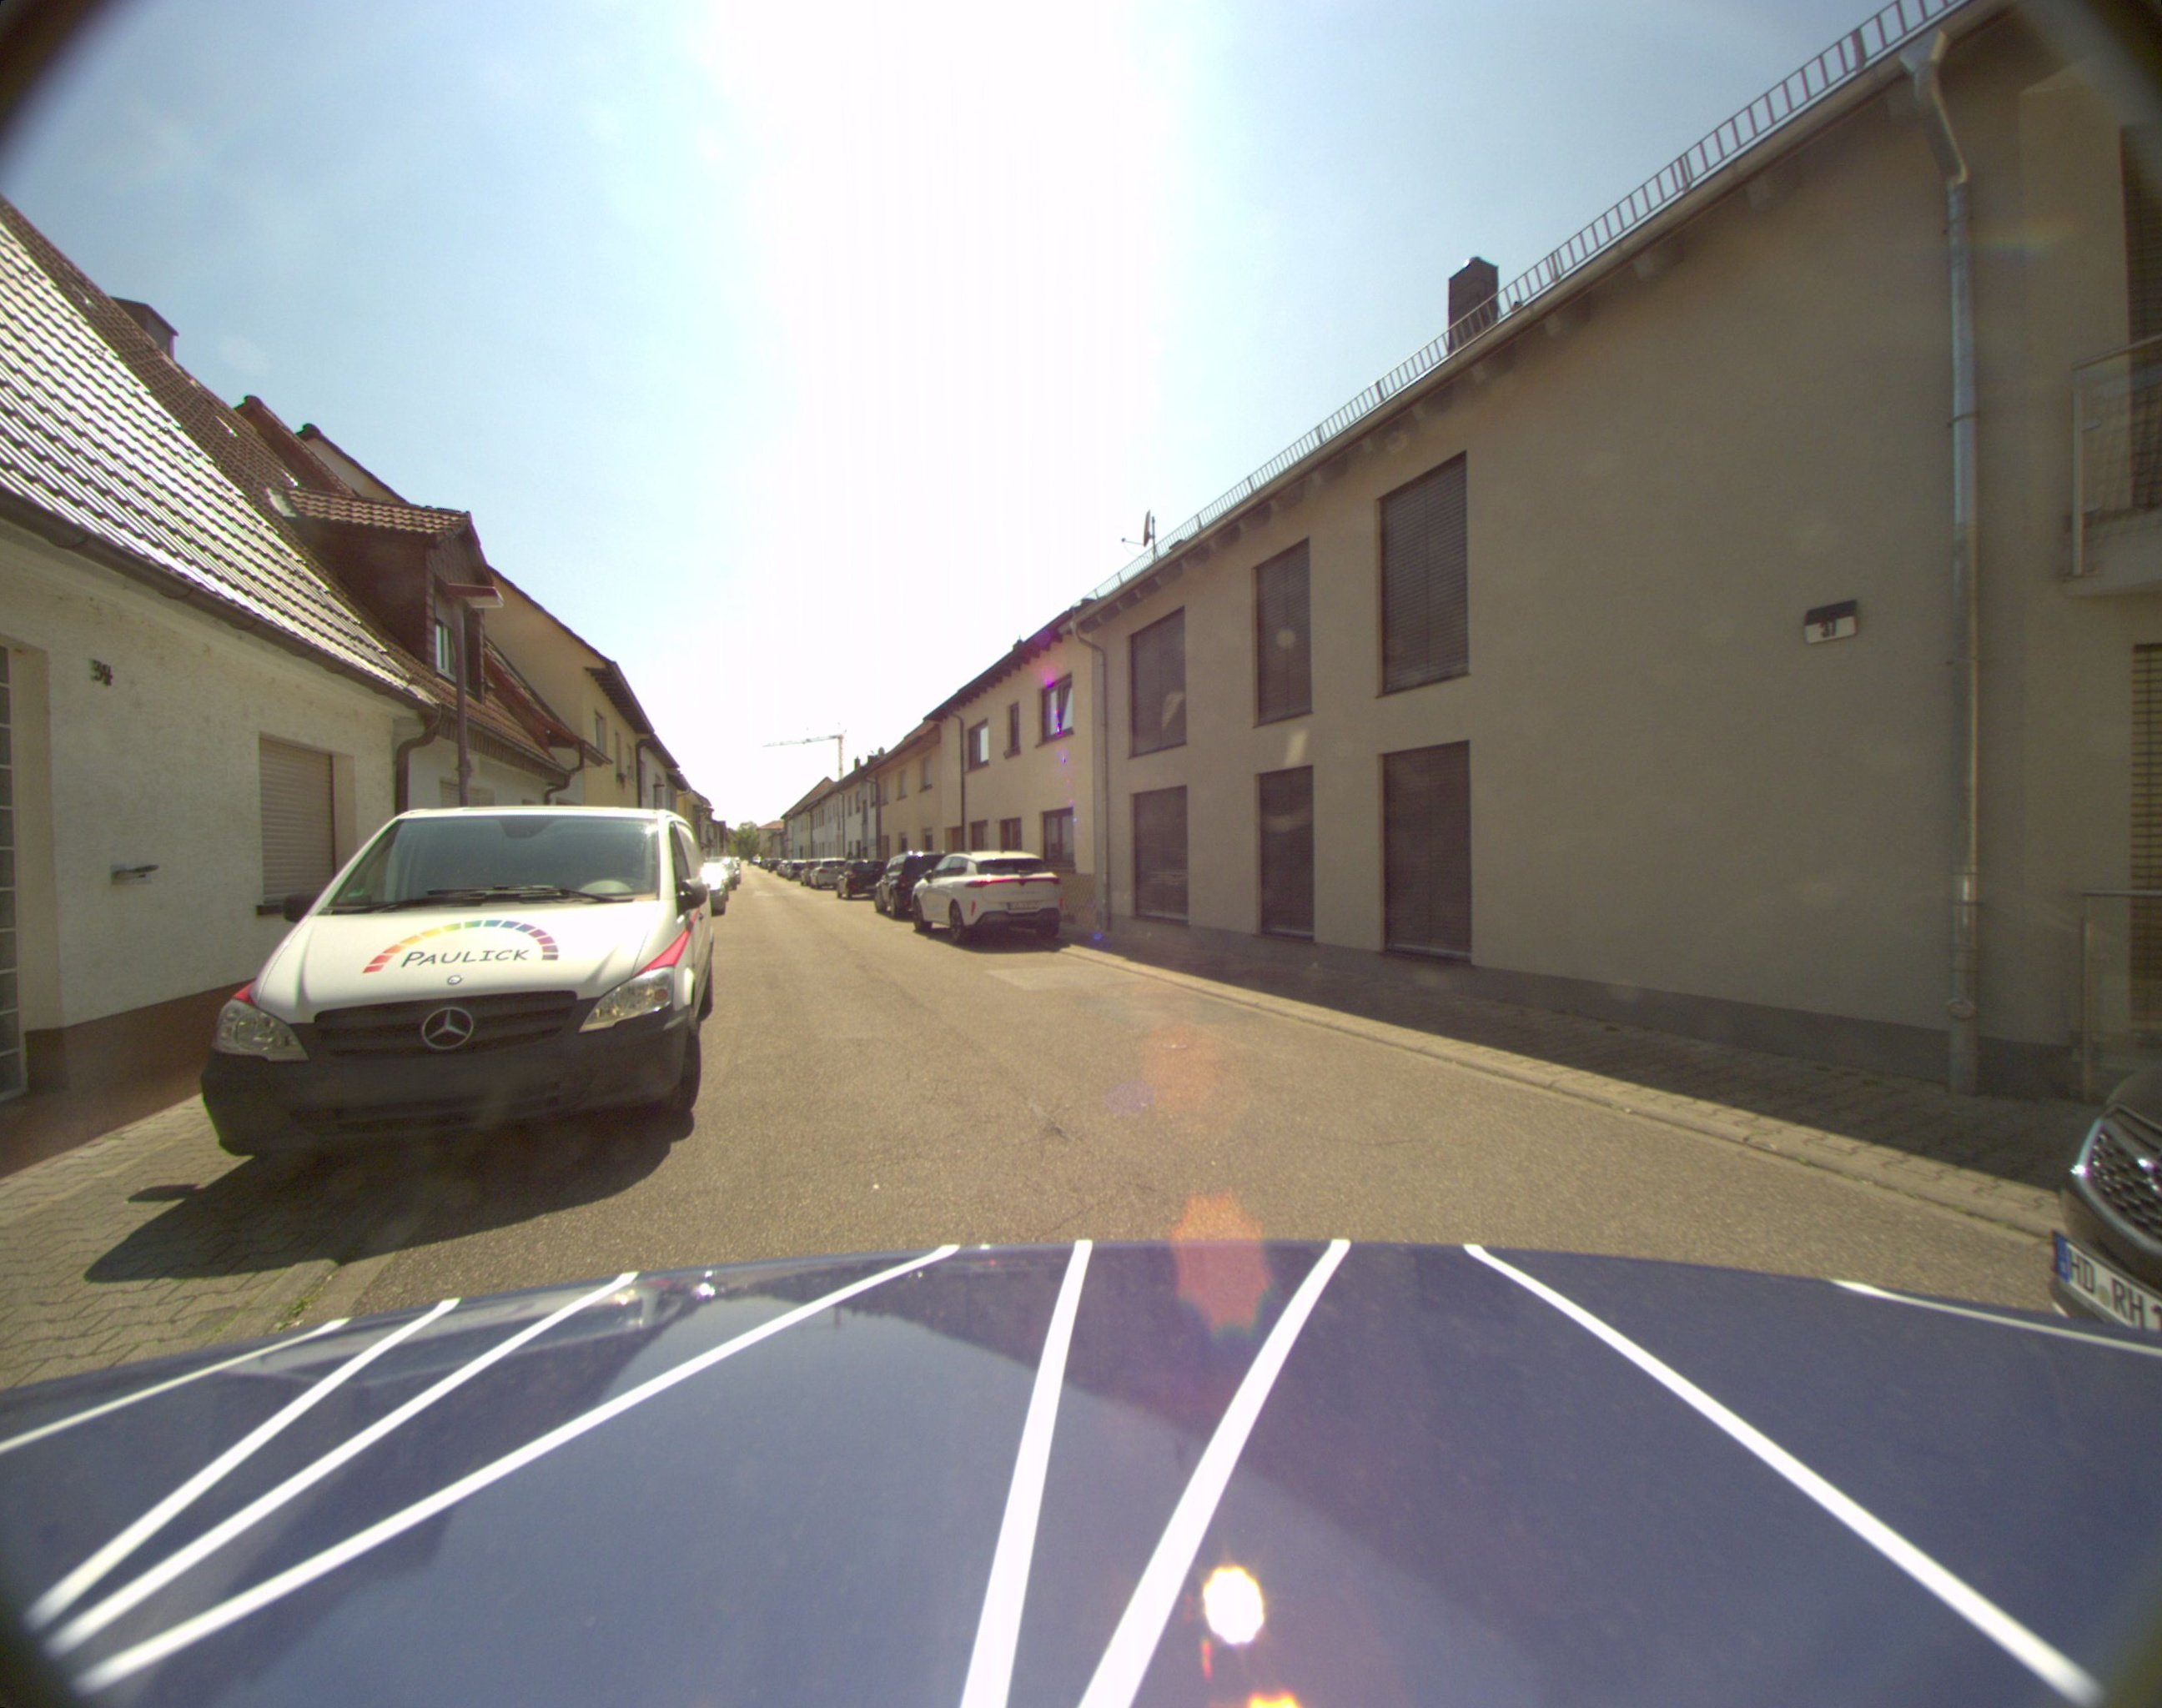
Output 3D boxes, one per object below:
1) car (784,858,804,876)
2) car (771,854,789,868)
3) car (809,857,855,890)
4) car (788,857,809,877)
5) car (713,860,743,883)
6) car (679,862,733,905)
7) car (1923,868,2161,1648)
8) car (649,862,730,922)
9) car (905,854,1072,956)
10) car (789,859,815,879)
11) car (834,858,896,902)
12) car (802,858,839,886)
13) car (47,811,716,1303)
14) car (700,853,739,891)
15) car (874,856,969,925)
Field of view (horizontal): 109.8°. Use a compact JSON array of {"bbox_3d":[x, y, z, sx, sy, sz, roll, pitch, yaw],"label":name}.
[{"bbox_3d":[-24.547,1.070,64.895,1.417,1.446,3.455,0,0,-23],"label":"car"},{"bbox_3d":[-35.516,0.778,89.577,1.822,1.598,3.879,0,0,-25],"label":"car"},{"bbox_3d":[-12.931,0.964,39.352,1.670,1.540,3.933,0,1,-27],"label":"car"},{"bbox_3d":[-22.371,1.023,60.184,1.417,1.519,3.019,0,0,-23],"label":"car"},{"bbox_3d":[-22.812,1.101,49.148,1.669,1.406,4.239,0,0,-24],"label":"car"},{"bbox_3d":[-14.505,1.091,29.473,1.704,1.427,4.094,-2,1,-25],"label":"car"},{"bbox_3d":[4.110,0.824,0.596,4.269,1.573,1.766,0,0,26],"label":"car"},{"bbox_3d":[-11.384,1.026,22.322,1.847,1.440,4.766,-2,1,-25],"label":"car"},{"bbox_3d":[-1.920,0.820,14.378,1.782,1.606,4.339,0,0,-26],"label":"car"},{"bbox_3d":[-20.468,1.105,55.743,1.609,1.434,3.207,0,0,-23],"label":"car"},{"bbox_3d":[-8.362,0.930,29.243,1.647,1.528,3.934,0,0,-25],"label":"car"},{"bbox_3d":[-15.217,1.002,44.262,1.670,1.532,3.680,-1,0,-25],"label":"car"},{"bbox_3d":[-3.937,0.734,5.637,2.021,1.828,5.254,-2,1,-24],"label":"car"},{"bbox_3d":[-18.721,0.881,39.480,1.704,1.767,4.190,-1,1,-25],"label":"car"},{"bbox_3d":[-4.309,0.859,20.050,1.730,1.606,3.981,0,0,-23],"label":"car"}]
